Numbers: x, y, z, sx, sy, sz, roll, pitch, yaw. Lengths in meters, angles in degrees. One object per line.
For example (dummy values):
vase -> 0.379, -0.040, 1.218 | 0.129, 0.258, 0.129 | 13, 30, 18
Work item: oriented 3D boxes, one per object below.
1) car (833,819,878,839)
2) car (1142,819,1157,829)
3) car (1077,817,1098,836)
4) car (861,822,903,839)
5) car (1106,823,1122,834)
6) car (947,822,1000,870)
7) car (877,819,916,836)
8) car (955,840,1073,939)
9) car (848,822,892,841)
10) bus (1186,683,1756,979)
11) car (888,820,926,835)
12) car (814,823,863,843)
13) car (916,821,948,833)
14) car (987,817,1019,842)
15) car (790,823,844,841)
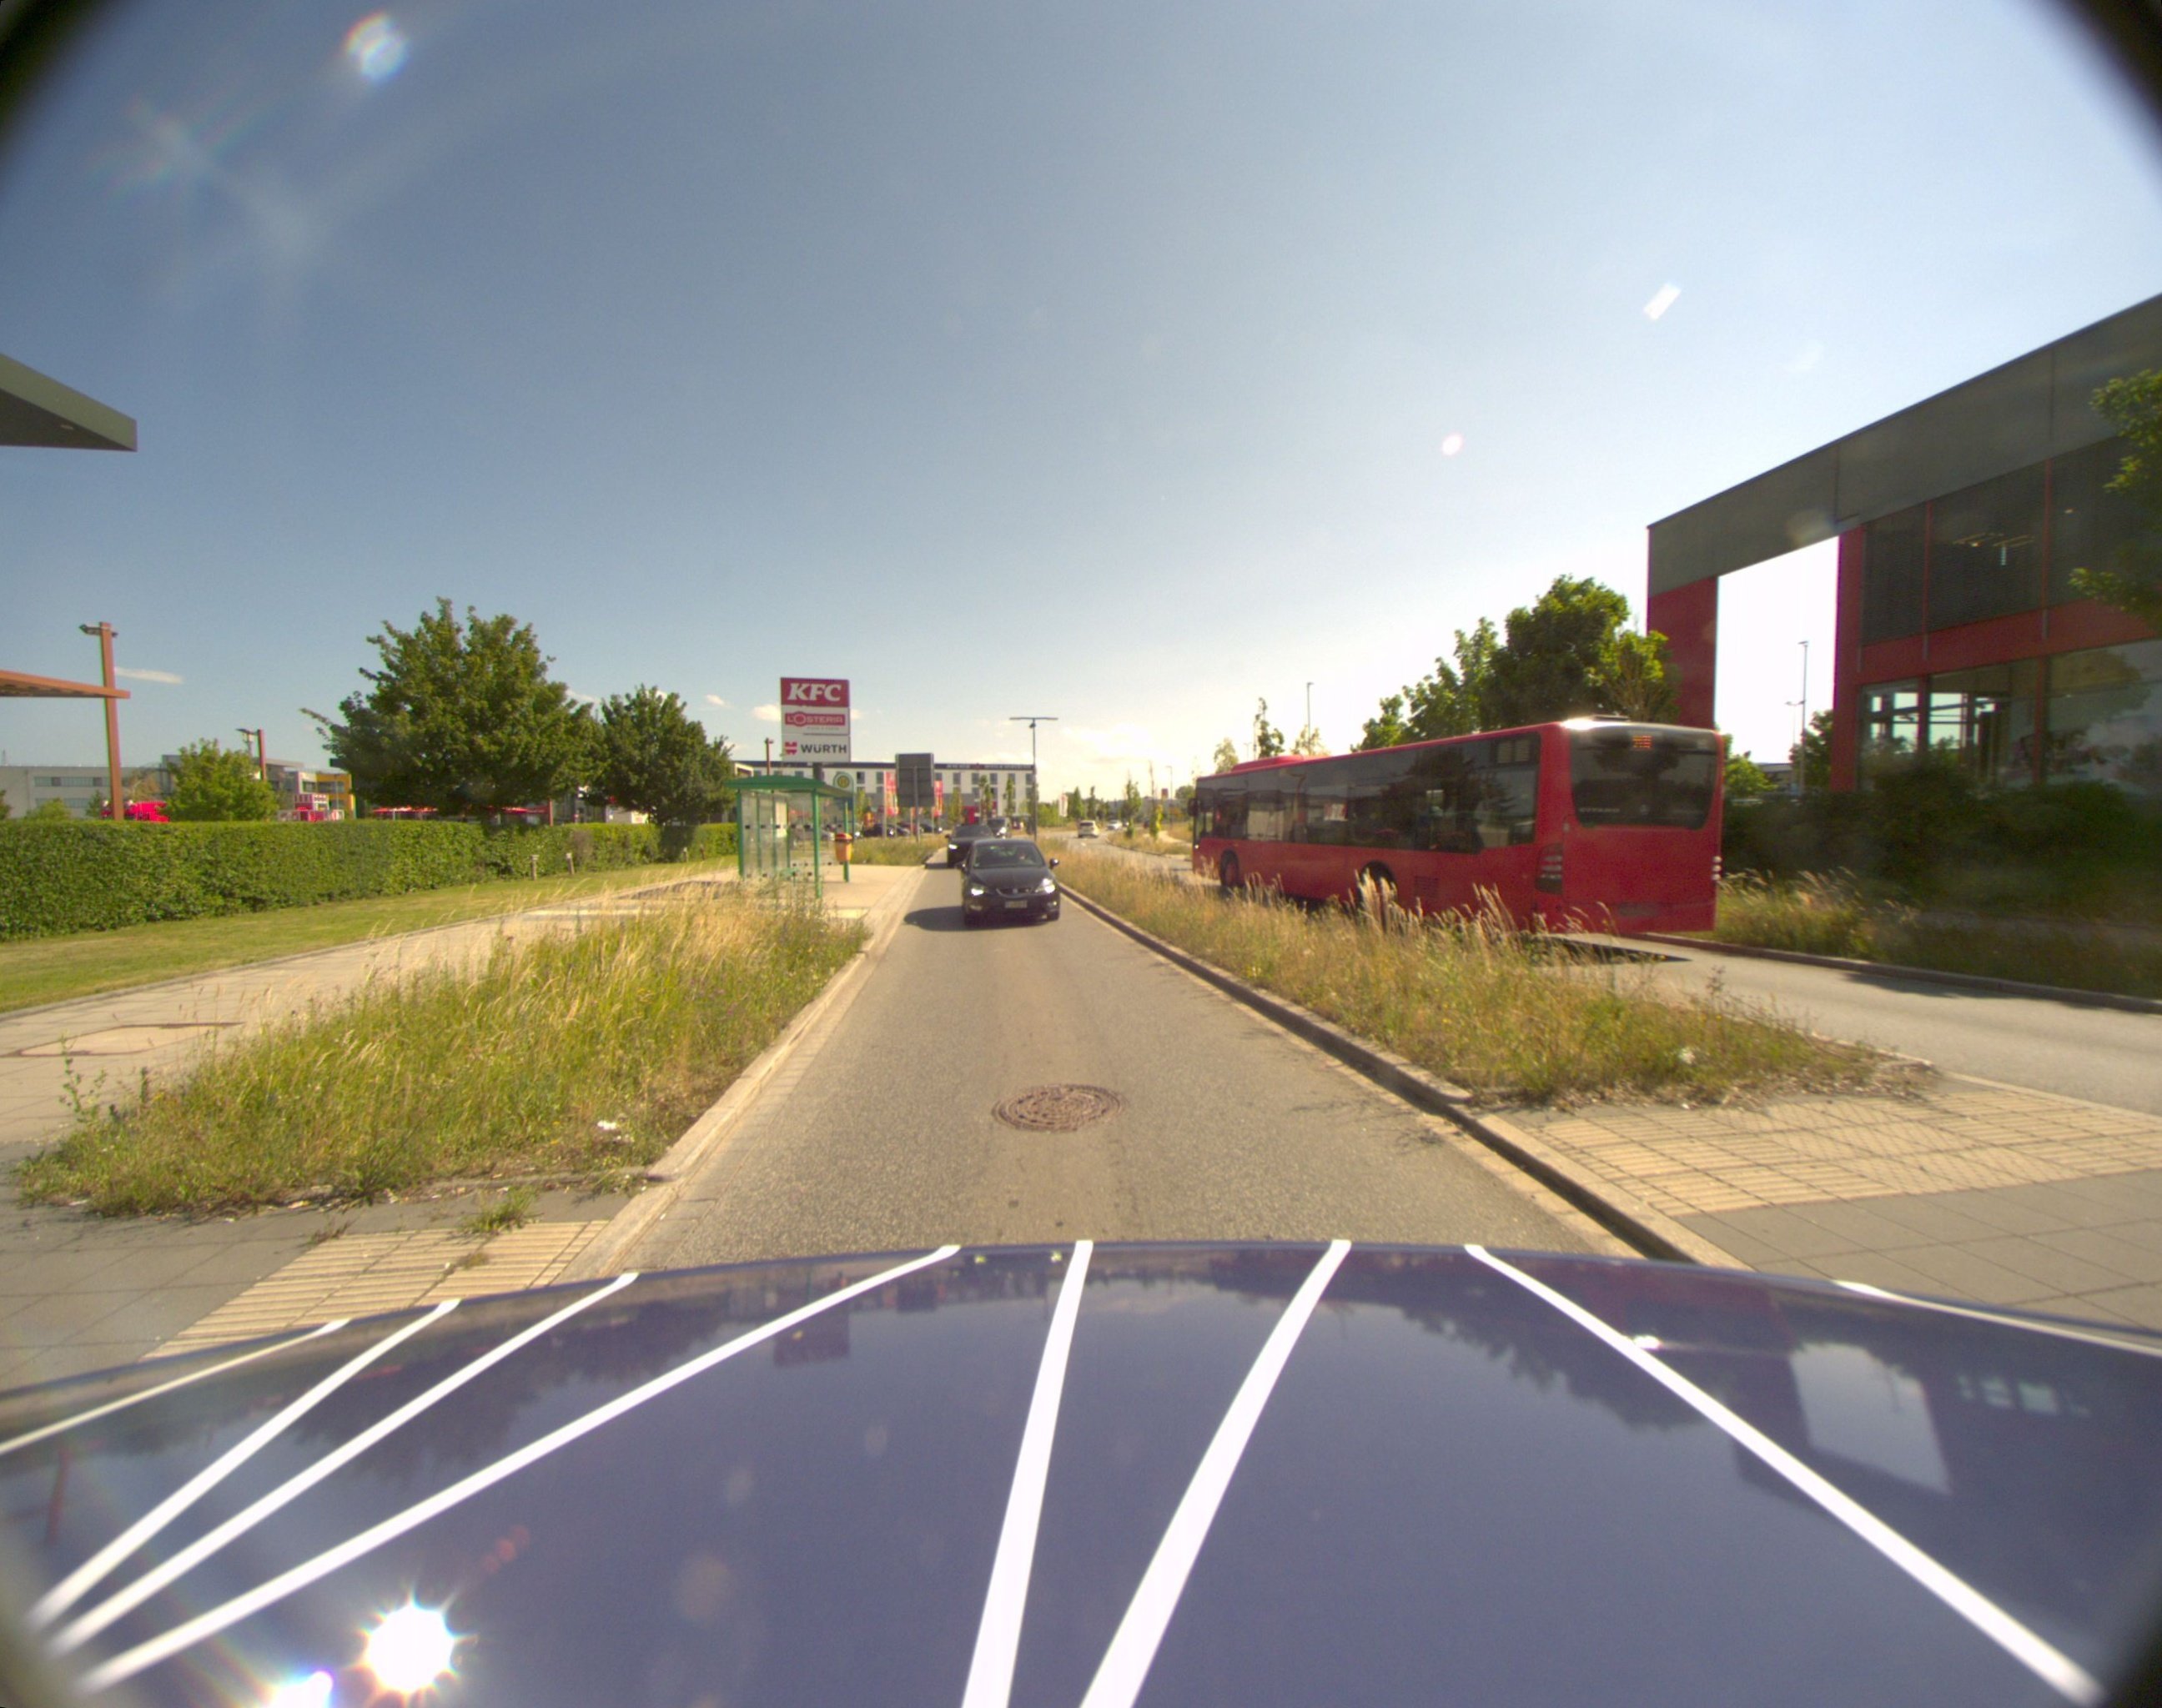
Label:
car -> -23.842, -2.648, 80.425 | 4.182, 2.003, 1.933 | 0, 3, 5
car -> 11.015, -4.836, 122.015 | 1.998, 1.609, 3.998 | -1, 2, 1
car -> 0.628, -2.629, 72.284 | 1.862, 1.705, 4.154 | 0, 2, -1
car -> -22.703, -2.647, 86.586 | 4.181, 1.847, 1.804 | 0, 3, 9
car -> 4.822, -3.698, 110.150 | 1.997, 1.674, 4.001 | 0, 2, 7
car -> -4.241, -0.397, 30.531 | 1.863, 1.679, 3.996 | -3, 3, -6
car -> -22.230, -3.237, 91.693 | 4.182, 2.003, 1.933 | -1, 3, 4
car -> -1.397, 0.537, 14.364 | 1.863, 1.460, 3.995 | -2, 2, -9
car -> -23.352, -2.477, 84.091 | 4.182, 2.003, 1.933 | 0, 3, 6
bus -> 5.276, -0.445, 14.363 | 2.618, 3.223, 11.863 | -1, 2, -12
car -> -21.661, -3.302, 94.583 | 4.181, 1.752, 1.824 | 0, 3, 9
car -> -24.652, -2.146, 77.332 | 4.182, 2.003, 1.933 | 0, 3, 6
car -> -19.842, -3.637, 101.320 | 3.820, 1.611, 1.757 | 0, 3, 5
car -> -6.382, -2.033, 62.507 | 2.079, 2.037, 4.680 | 0, 2, 0
car -> -25.214, -2.127, 72.605 | 4.441, 1.644, 1.932 | -1, 3, -2
